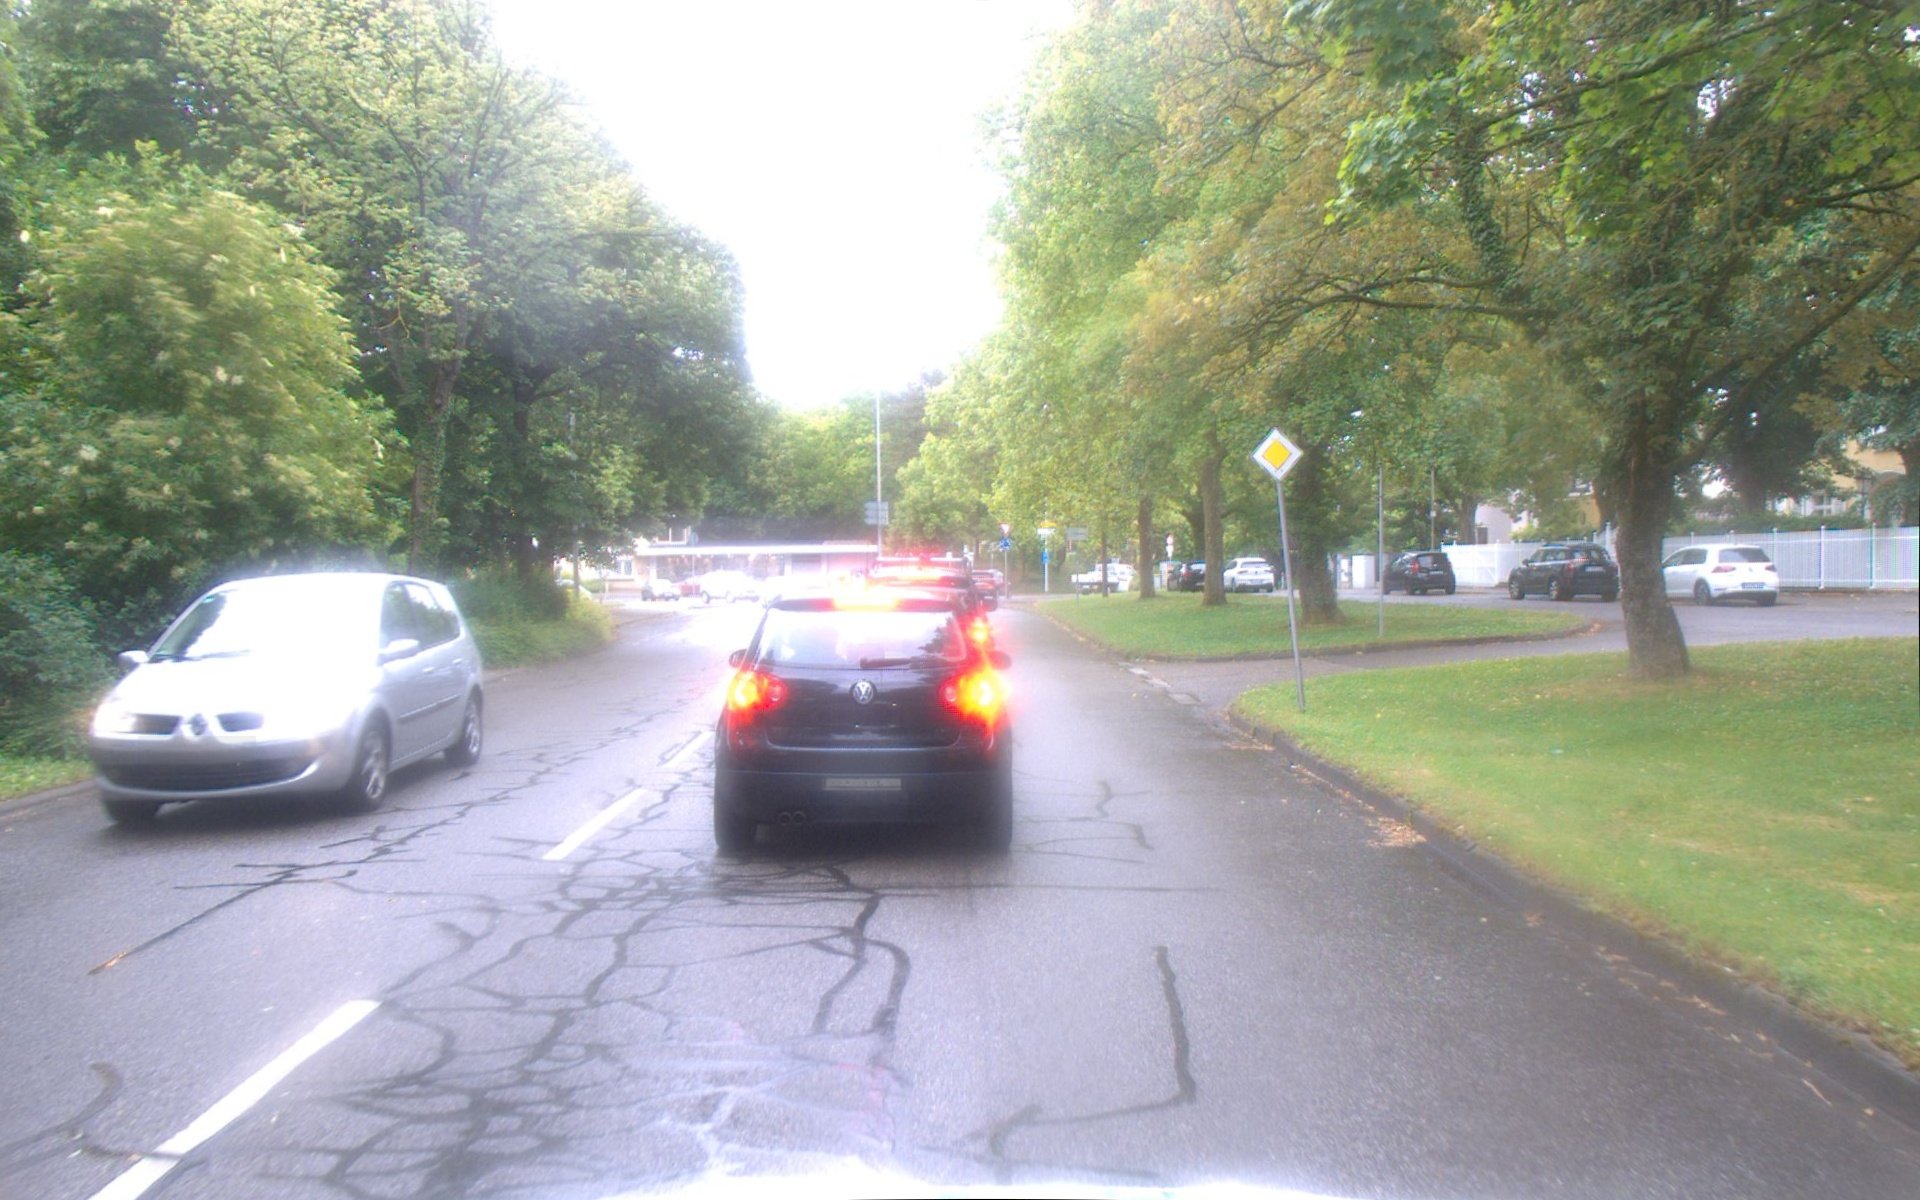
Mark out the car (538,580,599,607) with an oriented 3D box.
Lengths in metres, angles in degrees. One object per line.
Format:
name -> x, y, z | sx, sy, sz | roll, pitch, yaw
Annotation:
car -> -20.990, -0.352, 88.784 | 3.065, 1.333, 1.536 | -2, 1, -12

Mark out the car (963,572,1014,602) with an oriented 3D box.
car -> 1.526, -0.703, 88.065 | 1.670, 1.539, 3.675 | -1, 1, 18

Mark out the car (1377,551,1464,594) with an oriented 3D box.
car -> 16.526, -1.014, 59.548 | 1.766, 1.436, 4.110 | -2, 2, -4

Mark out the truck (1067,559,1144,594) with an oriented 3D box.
truck -> 9.100, -1.489, 102.975 | 2.378, 2.039, 5.128 | -1, 1, 38

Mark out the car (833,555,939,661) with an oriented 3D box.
car -> -1.311, 0.125, 30.871 | 1.818, 1.816, 3.999 | -1, 0, -1

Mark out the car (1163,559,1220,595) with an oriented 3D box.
car -> 10.067, -1.033, 72.165 | 1.767, 1.409, 4.000 | -3, 1, -1

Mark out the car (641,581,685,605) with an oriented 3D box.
car -> -18.722, -0.420, 104.112 | 1.774, 1.417, 3.948 | -3, 1, -24

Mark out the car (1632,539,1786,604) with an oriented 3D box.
car -> 18.081, -0.713, 40.121 | 1.585, 1.434, 4.005 | -2, 2, -6

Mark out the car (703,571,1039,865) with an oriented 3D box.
car -> -0.487, 0.606, 10.575 | 1.762, 1.542, 3.753 | 0, 0, -1

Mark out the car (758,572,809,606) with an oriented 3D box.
car -> -8.020, -0.522, 74.861 | 1.582, 1.452, 3.991 | -2, 2, -16

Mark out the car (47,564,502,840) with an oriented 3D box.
car -> -4.803, 0.600, 12.287 | 1.728, 1.642, 4.139 | -2, 1, -2

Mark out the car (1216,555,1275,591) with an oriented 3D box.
car -> 12.492, -1.208, 72.530 | 1.767, 1.430, 4.000 | -3, 1, -1

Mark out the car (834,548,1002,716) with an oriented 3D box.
car -> -0.484, 0.335, 20.229 | 1.818, 1.816, 3.999 | -1, 0, -1

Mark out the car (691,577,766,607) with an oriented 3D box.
car -> -12.668, -0.436, 90.449 | 3.716, 1.646, 1.777 | 0, 1, 24

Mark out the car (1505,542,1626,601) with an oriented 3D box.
car -> 17.375, -0.843, 47.661 | 1.766, 1.556, 4.110 | -2, 2, -4
